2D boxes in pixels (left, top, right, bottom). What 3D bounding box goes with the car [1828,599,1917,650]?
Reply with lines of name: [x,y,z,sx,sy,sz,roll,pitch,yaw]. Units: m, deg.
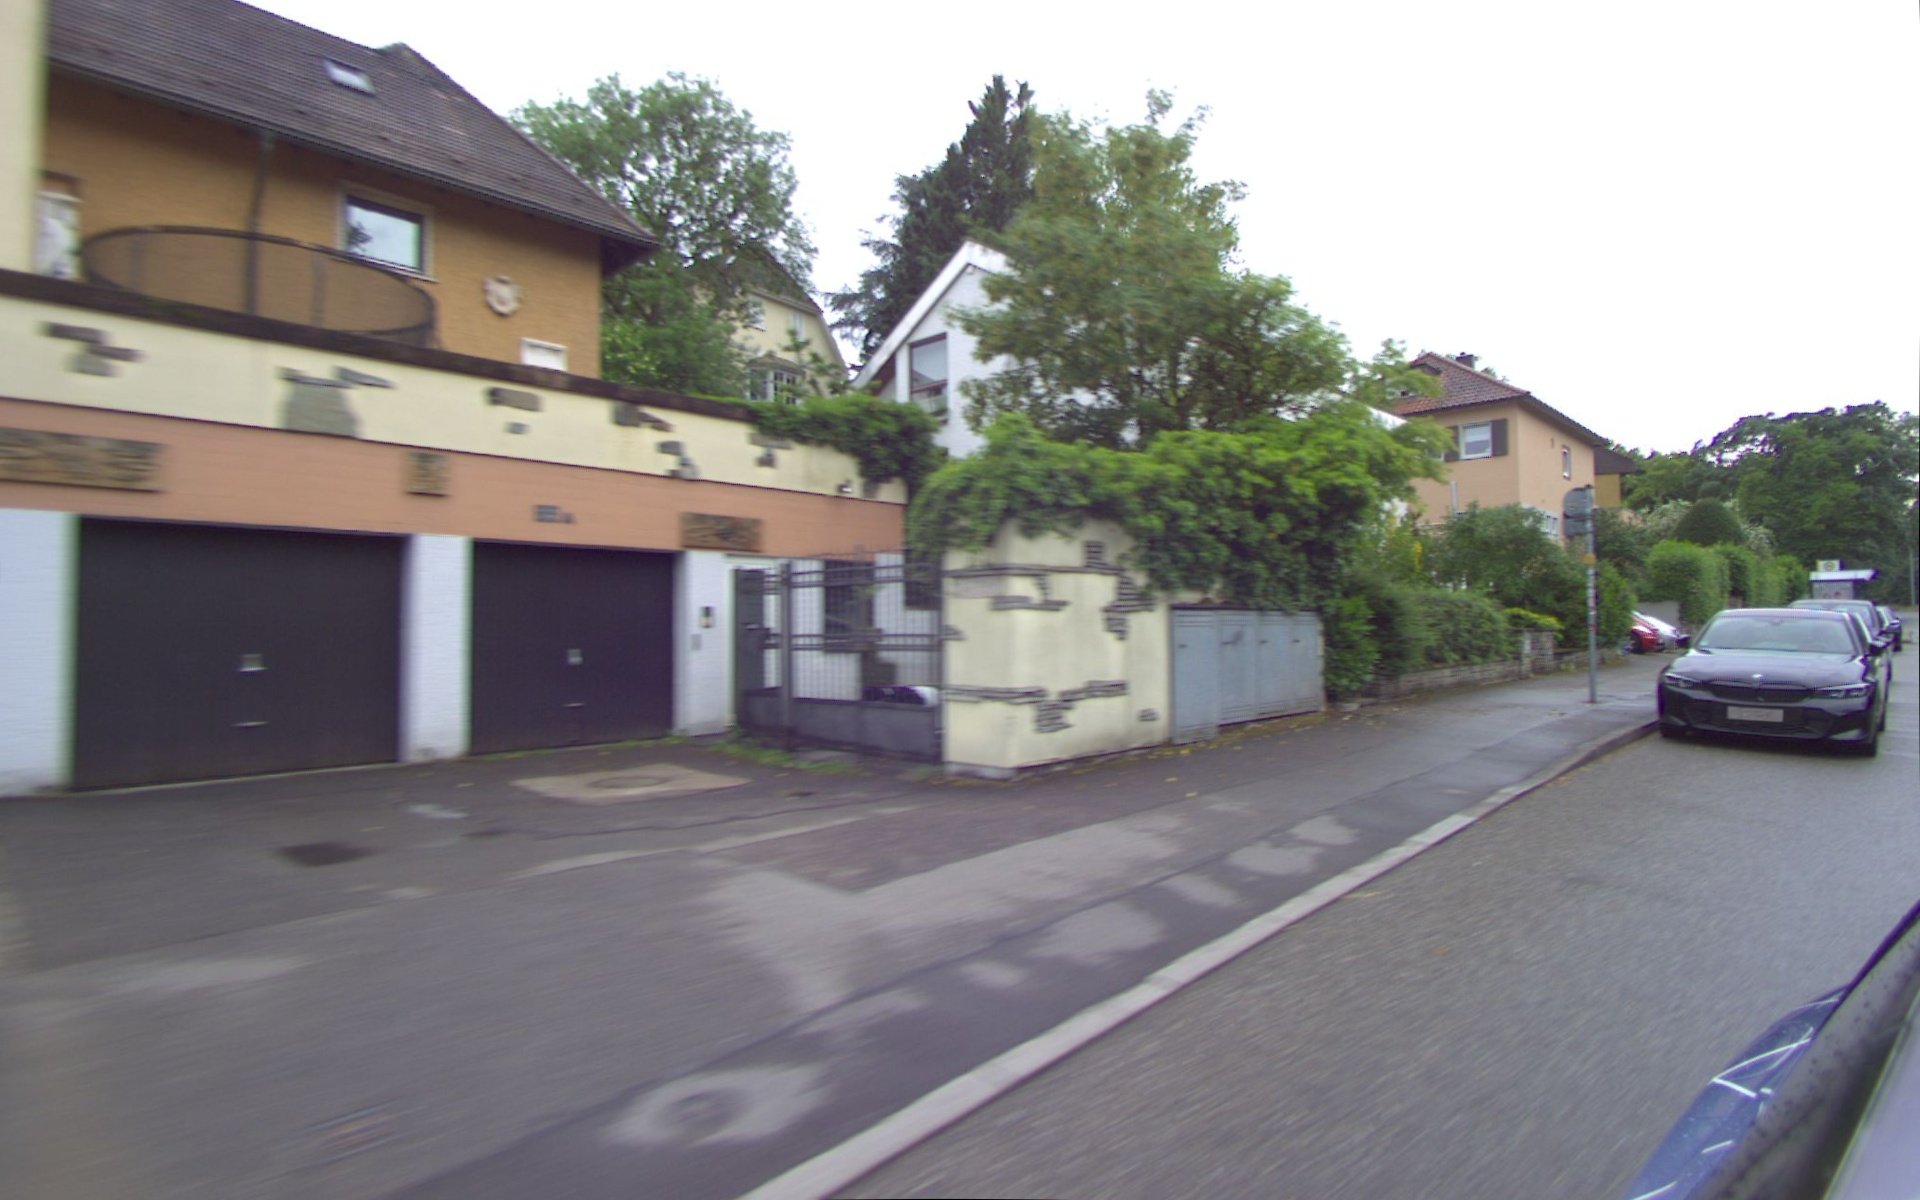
car: [28.280,0.714,31.329,4.036,1.415,1.813,-2,1,-45]

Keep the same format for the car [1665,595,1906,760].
car: [9.555,0.707,11.568,1.752,1.461,4.528,-1,0,44]

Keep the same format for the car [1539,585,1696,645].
car: [19.499,0.399,30.097,3.656,1.555,1.800,4,2,42]

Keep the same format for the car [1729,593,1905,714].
car: [13.101,0.689,15.366,1.792,1.505,4.425,-1,1,43]

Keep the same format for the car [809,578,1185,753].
car: [0.580,0.600,11.646,1.932,1.616,4.273,-2,-1,44]

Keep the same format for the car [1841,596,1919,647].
car: [31.484,0.680,34.471,4.554,1.567,1.831,-2,1,-44]

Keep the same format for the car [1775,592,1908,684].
car: [17.233,0.654,19.713,1.730,1.588,4.449,0,0,44]

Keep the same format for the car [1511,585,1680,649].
car: [17.491,0.404,27.934,3.659,1.585,1.852,2,1,45]

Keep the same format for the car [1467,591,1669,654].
car: [15.917,0.556,26.631,4.245,1.479,1.852,-1,1,45]
